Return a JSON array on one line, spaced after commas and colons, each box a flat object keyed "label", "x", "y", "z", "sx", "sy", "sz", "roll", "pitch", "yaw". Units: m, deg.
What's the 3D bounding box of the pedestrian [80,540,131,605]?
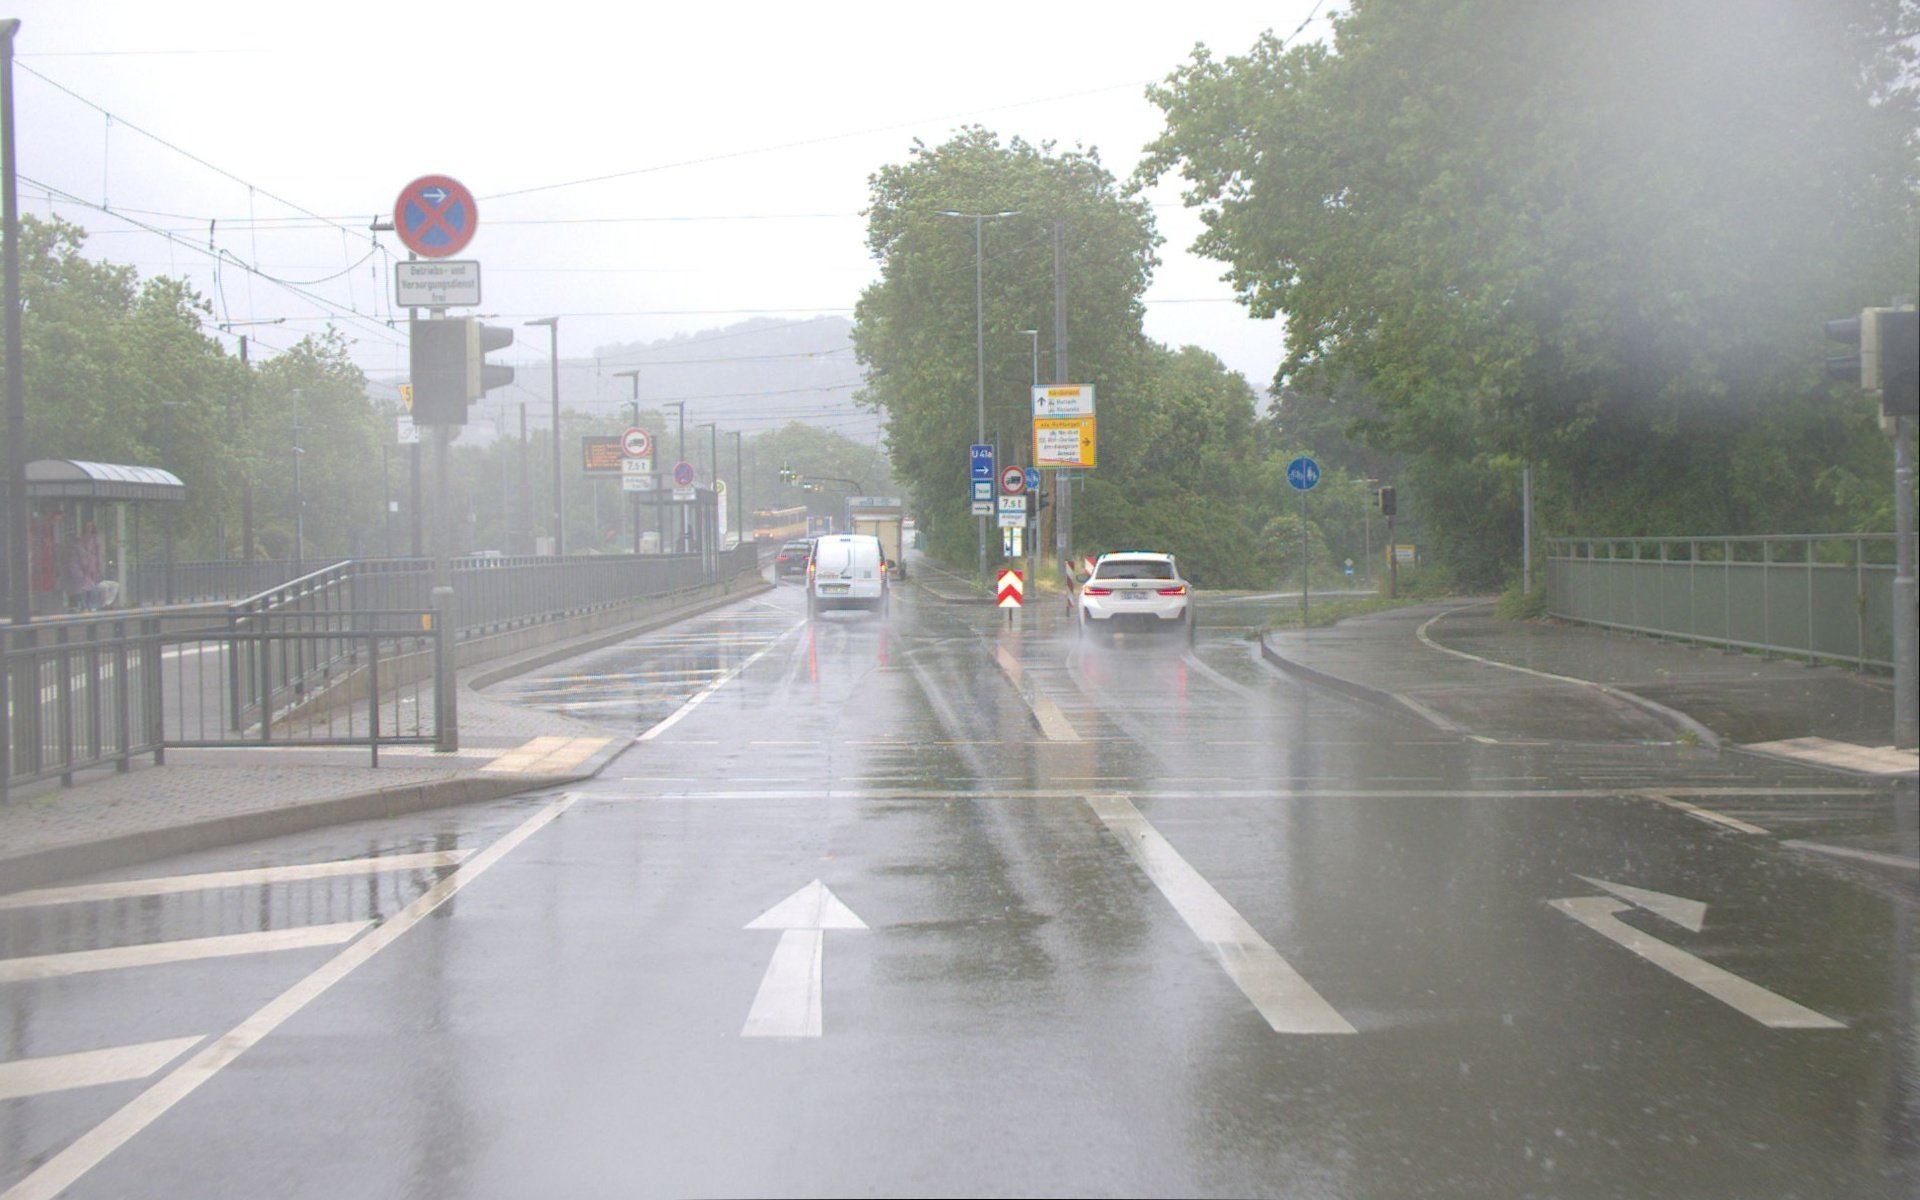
[{"label": "pedestrian", "x": -17.536, "y": -0.560, "z": 70.582, "sx": 0.831, "sy": 1.312, "sz": 0.858, "roll": 1, "pitch": 1, "yaw": -1}]

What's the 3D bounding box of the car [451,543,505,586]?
[{"label": "car", "x": -22.618, "y": -1.656, "z": 161.423, "sx": 1.993, "sy": 2.007, "sz": 4.000, "roll": 0, "pitch": 1, "yaw": 0}]

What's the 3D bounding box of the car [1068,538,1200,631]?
[{"label": "car", "x": 2.833, "y": -0.280, "z": 55.299, "sx": 1.888, "sy": 1.426, "sz": 3.999, "roll": 0, "pitch": 1, "yaw": 6}]

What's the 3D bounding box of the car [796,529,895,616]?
[{"label": "car", "x": -2.517, "y": -0.623, "z": 74.742, "sx": 1.993, "sy": 1.842, "sz": 4.001, "roll": 0, "pitch": 1, "yaw": -4}]

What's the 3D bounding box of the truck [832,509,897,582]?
[{"label": "truck", "x": -4.995, "y": -2.801, "z": 177.930, "sx": 2.775, "sy": 3.691, "sz": 9.854, "roll": 0, "pitch": 1, "yaw": -5}]

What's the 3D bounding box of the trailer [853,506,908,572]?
[{"label": "trailer", "x": -3.364, "y": -2.586, "z": 146.874, "sx": 2.166, "sy": 2.748, "sz": 5.676, "roll": 0, "pitch": 1, "yaw": 1}]
